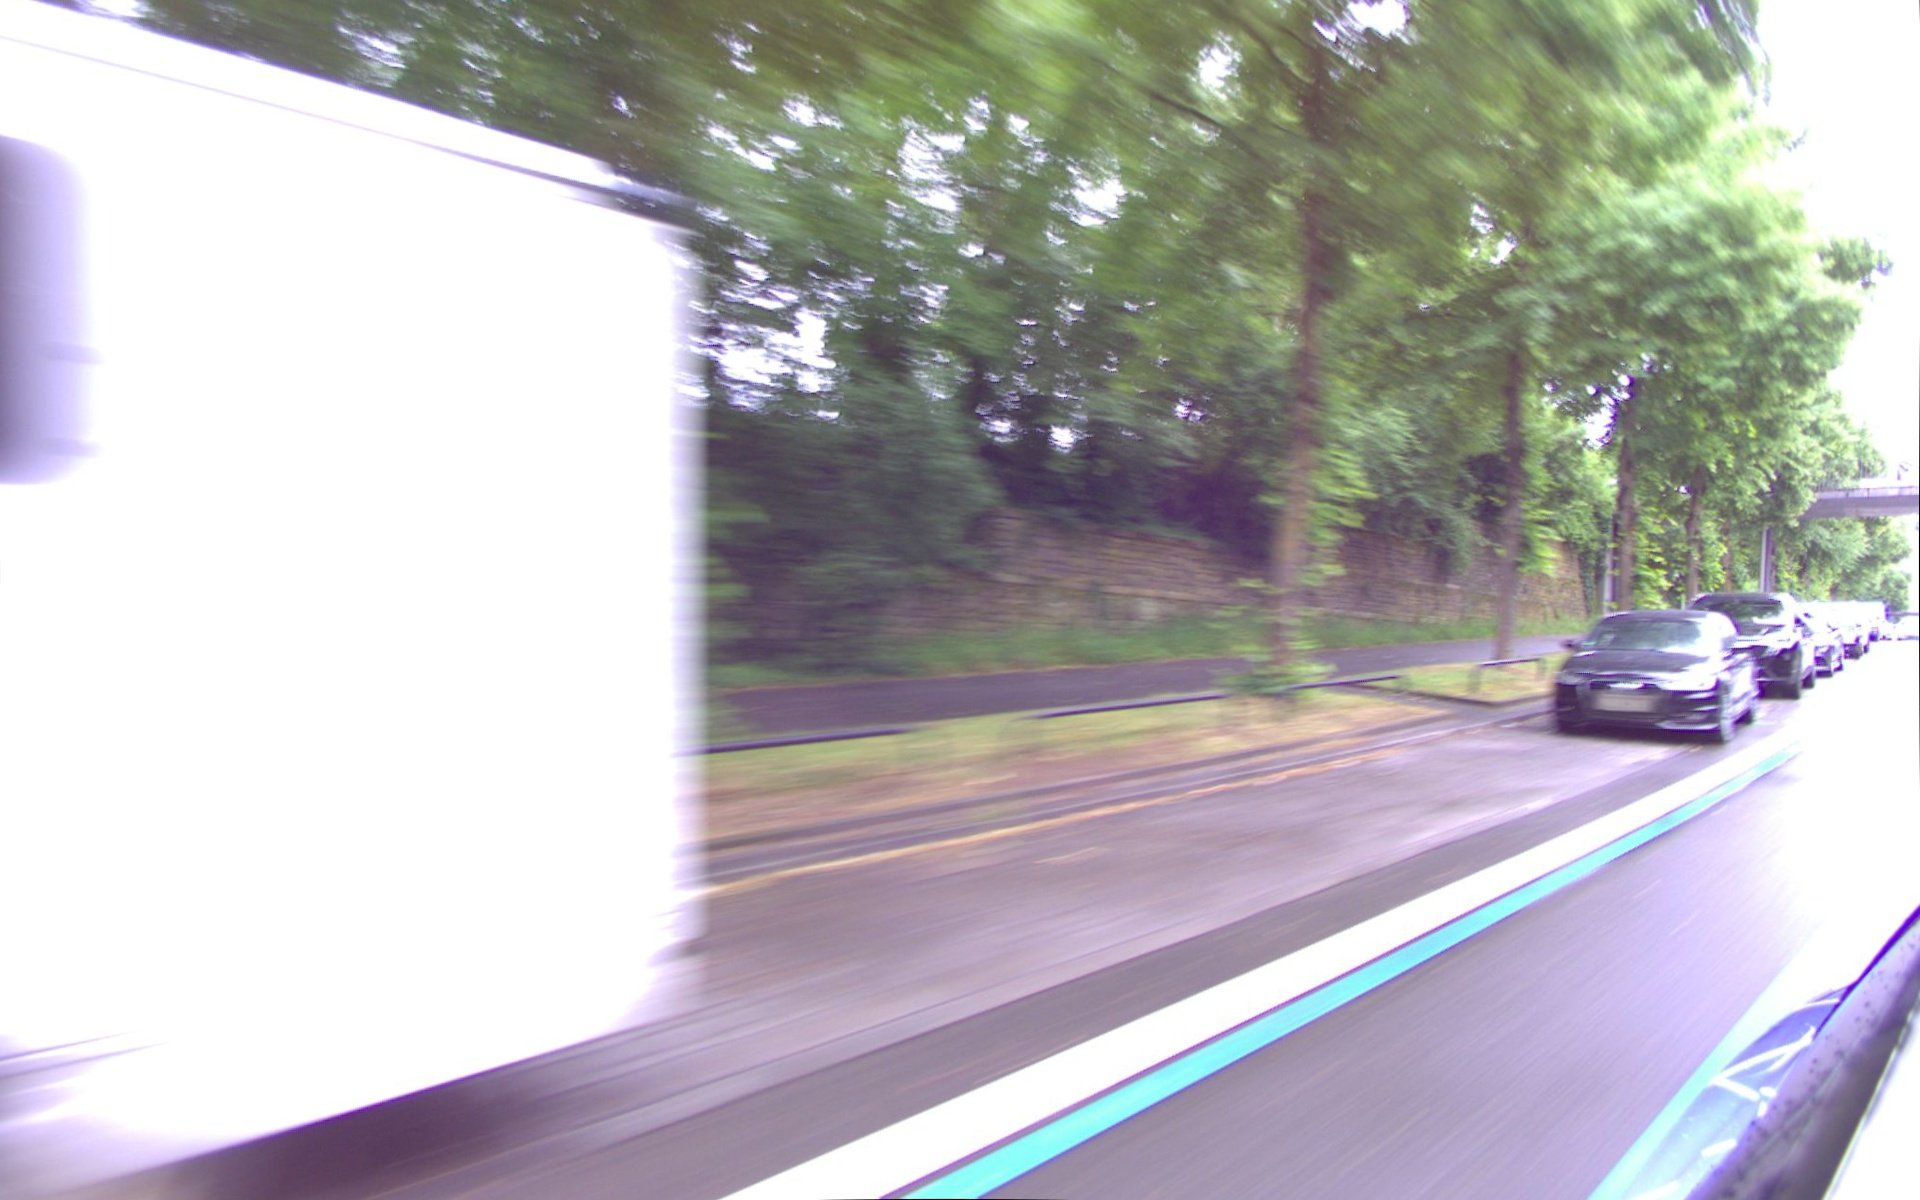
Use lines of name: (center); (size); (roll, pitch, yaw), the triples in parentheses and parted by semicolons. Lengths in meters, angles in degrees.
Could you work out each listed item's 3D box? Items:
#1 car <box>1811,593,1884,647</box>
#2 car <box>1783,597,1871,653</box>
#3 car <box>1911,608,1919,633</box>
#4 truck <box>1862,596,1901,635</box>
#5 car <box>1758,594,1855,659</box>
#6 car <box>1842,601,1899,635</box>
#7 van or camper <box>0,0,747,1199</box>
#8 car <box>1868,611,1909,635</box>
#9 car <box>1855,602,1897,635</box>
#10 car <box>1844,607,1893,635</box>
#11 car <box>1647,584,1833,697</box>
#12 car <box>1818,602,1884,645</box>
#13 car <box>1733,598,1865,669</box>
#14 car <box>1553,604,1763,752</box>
car: (29.412, 0.614, 33.505); (1.713, 1.639, 4.195); (1, 1, 43)
car: (25.406, 0.678, 29.598); (1.718, 1.393, 4.488); (1, 2, 43)
car: (58.605, 1.302, 61.103); (1.721, 1.416, 4.518); (1, -1, 43)
truck: (58.060, 0.975, 63.732); (1.719, 2.363, 3.936); (1, -1, 44)
car: (21.829, 0.635, 26.053); (1.661, 1.554, 3.681); (0, 0, 44)
car: (45.588, 0.931, 50.758); (1.992, 1.580, 4.573); (1, -1, 41)
van or camper: (-3.722, 0.081, 1.605); (6.266, 2.698, 2.322); (0, 0, -39)
car: (66.350, 1.680, 72.347); (1.752, 1.605, 4.353); (1, -1, 38)
car: (54.115, 1.116, 59.787); (1.722, 1.813, 4.276); (1, -1, 44)
car: (42.359, 0.990, 47.146); (1.625, 1.205, 4.117); (1, -1, 43)
car: (13.495, 0.589, 17.418); (4.278, 1.666, 1.994); (-1, 0, -45)
car: (32.777, 0.821, 37.195); (1.673, 1.411, 4.381); (1, 1, 43)
car: (18.360, 0.646, 22.072); (4.393, 1.365, 1.776); (-1, 1, -44)
car: (8.526, 0.793, 12.221); (1.677, 1.393, 3.941); (1, 1, 41)
